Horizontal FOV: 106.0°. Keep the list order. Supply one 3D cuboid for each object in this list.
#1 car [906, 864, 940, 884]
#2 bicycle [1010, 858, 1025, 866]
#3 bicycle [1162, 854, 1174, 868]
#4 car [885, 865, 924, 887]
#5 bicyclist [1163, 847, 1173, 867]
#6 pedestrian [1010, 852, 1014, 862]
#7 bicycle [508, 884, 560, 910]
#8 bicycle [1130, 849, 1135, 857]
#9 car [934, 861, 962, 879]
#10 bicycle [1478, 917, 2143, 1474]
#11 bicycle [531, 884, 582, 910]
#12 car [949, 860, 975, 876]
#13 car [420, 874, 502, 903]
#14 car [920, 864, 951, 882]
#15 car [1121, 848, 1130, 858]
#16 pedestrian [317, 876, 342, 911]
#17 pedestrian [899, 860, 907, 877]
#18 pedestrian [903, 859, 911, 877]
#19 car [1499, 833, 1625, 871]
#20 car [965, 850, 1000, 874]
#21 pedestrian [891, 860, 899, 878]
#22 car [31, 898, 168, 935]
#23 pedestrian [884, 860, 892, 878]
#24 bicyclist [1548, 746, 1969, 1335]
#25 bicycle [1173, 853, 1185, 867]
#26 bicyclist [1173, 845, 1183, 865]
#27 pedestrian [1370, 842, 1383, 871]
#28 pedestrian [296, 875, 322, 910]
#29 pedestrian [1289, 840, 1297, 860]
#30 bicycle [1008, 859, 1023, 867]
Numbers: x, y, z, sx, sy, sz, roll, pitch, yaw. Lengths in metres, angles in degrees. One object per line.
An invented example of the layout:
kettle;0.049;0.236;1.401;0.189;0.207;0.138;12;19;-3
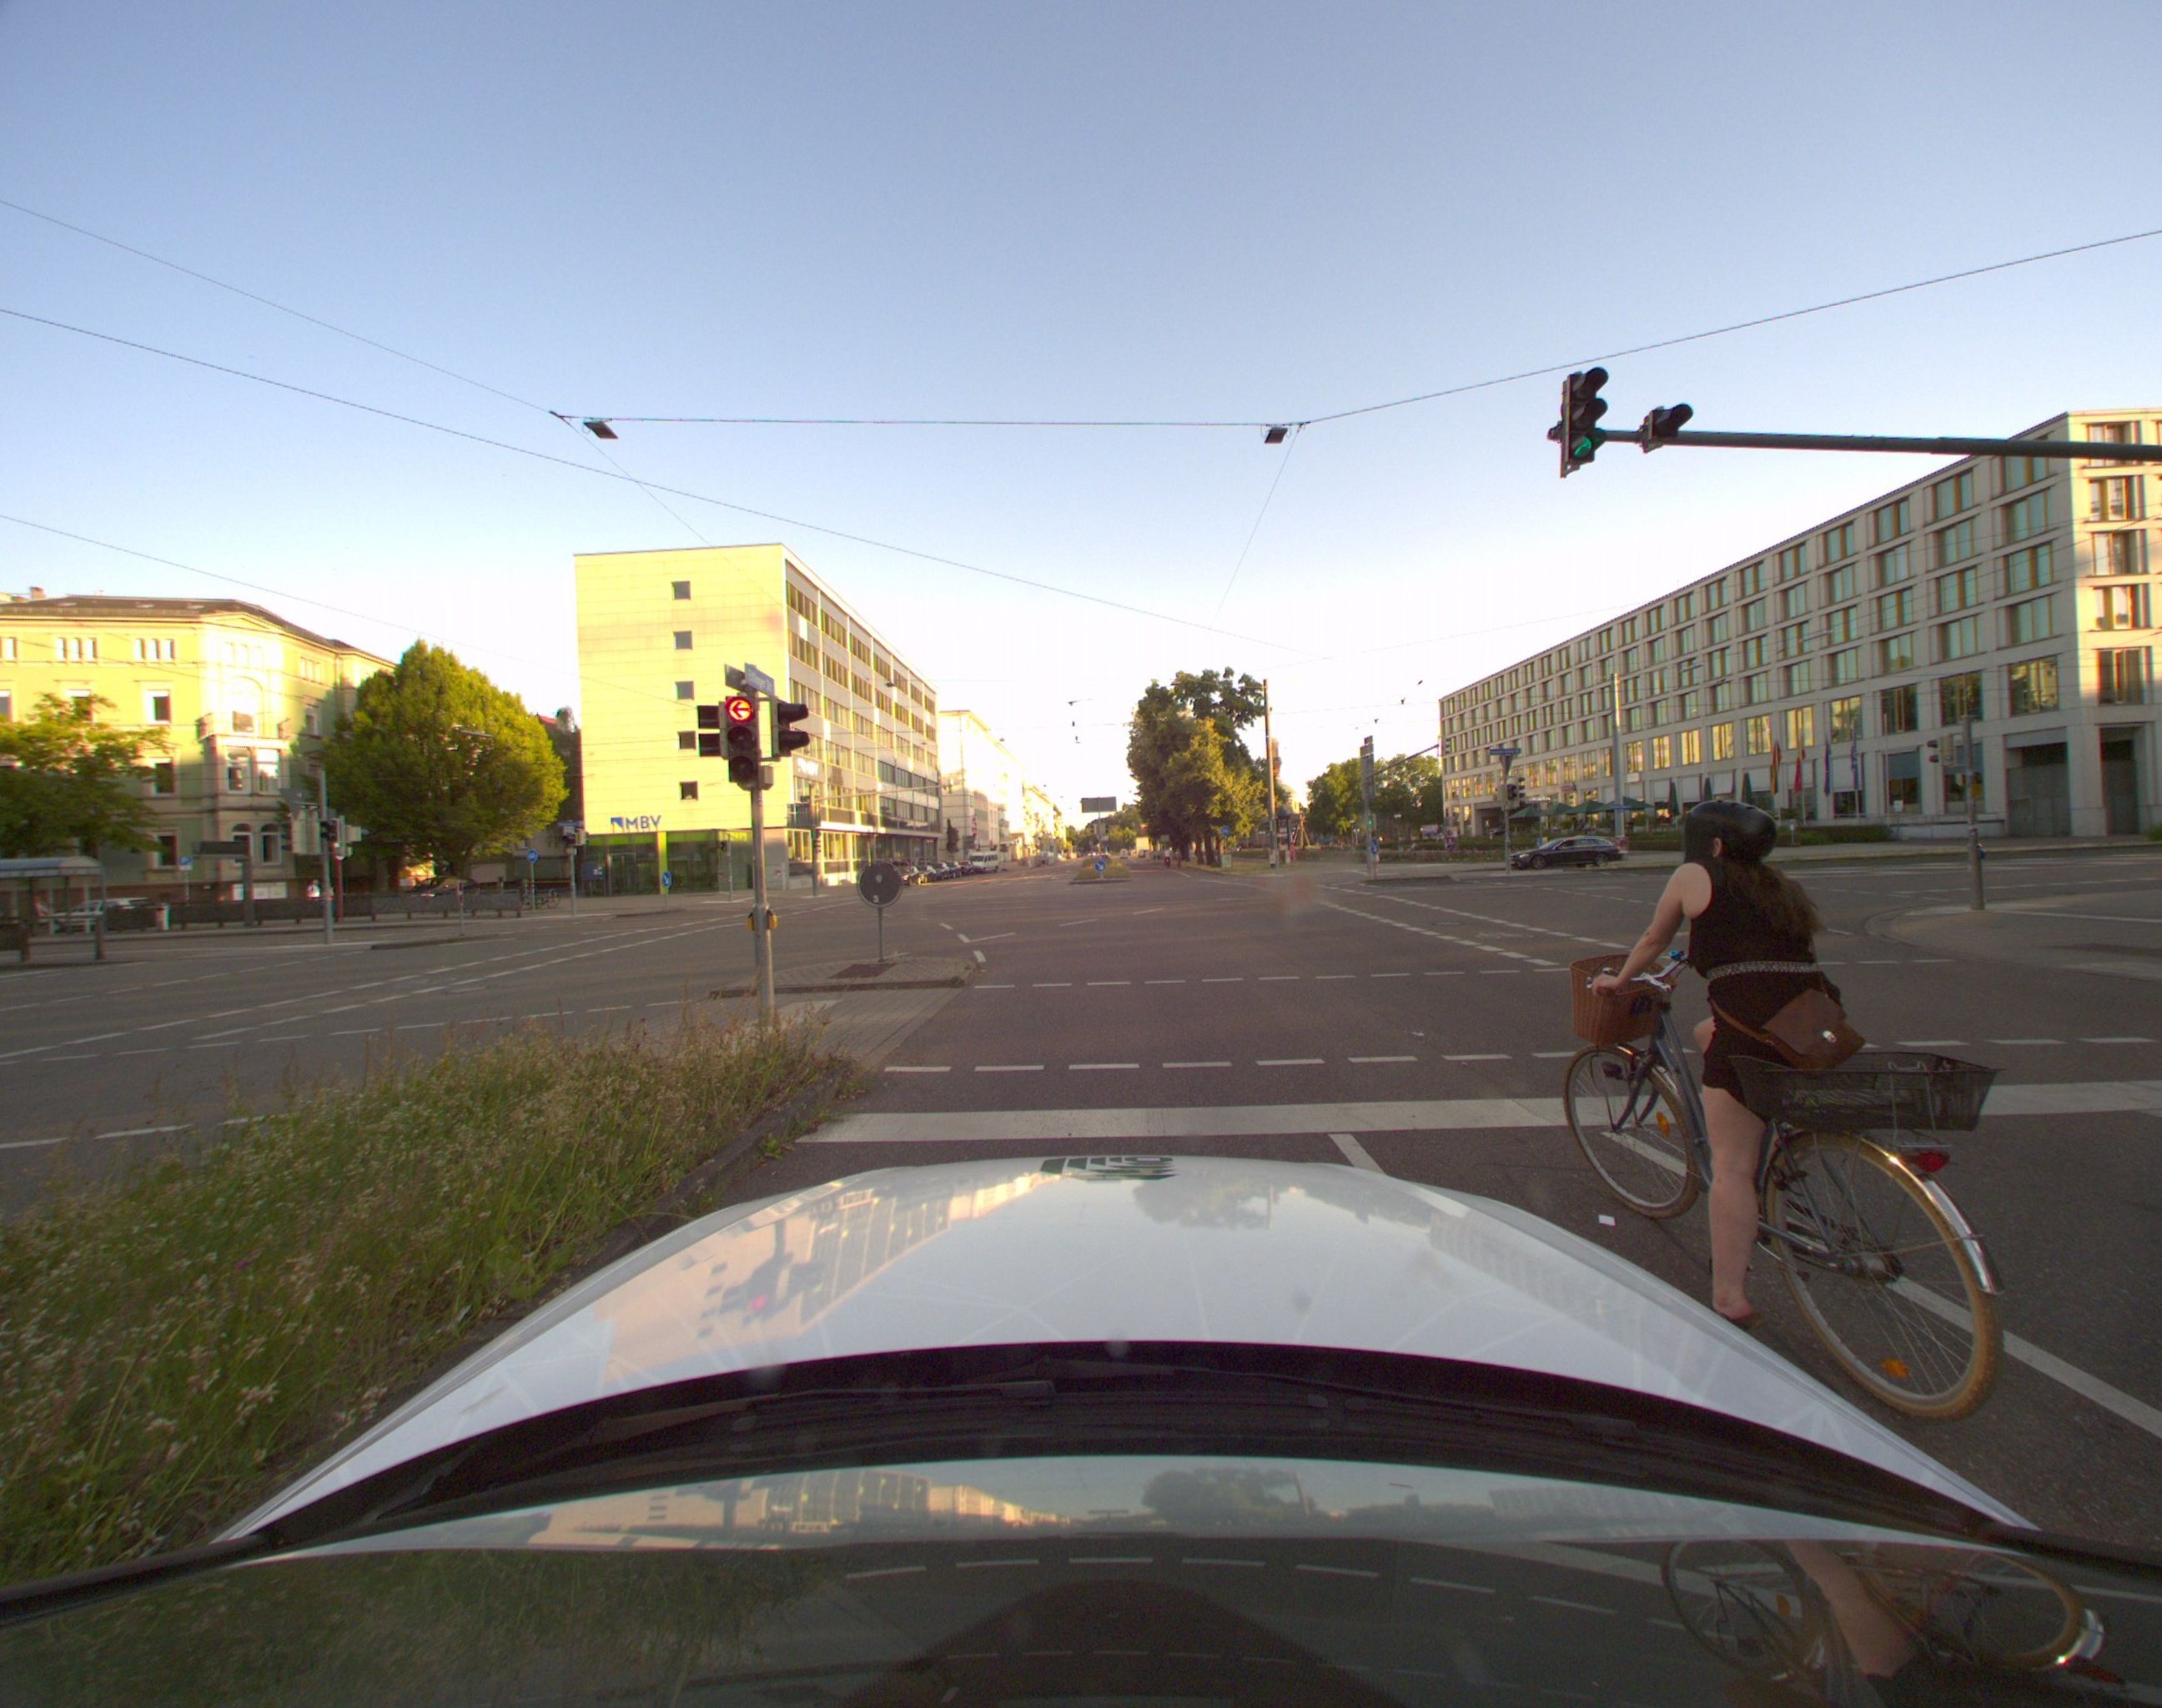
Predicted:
car;-13.317;1.647;68.910;1.913;1.464;4.002;-3;0;2
bicycle;-10.068;1.288;129.333;2.198;1.236;0.839;-3;0;0
bicycle;7.502;0.614;70.337;0.744;1.144;2.506;-3;0;2
car;-13.512;1.660;62.414;1.913;1.464;4.105;-3;0;2
bicyclist;7.434;0.258;69.646;0.744;1.663;0.873;-3;0;1
pedestrian;-14.078;0.671;165.686;0.677;2.013;0.545;-3;0;1
bicycle;-26.733;2.104;39.864;0.832;1.112;2.216;-3;0;6
bicycle;13.056;-0.263;207.651;0.997;2.013;4.007;-3;0;6
car;-12.857;1.574;79.025;1.913;1.568;4.002;-3;0;2
bicycle;2.182;0.872;2.897;0.609;1.132;2.005;-1;0;2
bicycle;-25.586;2.070;39.762;0.832;1.112;2.216;-3;0;6
car;-12.390;1.447;85.248;1.913;1.568;4.002;-3;0;2
car;-35.016;1.911;46.097;1.830;1.372;3.594;-3;0;0
car;-13.109;1.684;73.723;1.913;1.464;4.002;-3;0;2
car;7.988;-0.142;147.145;1.403;1.641;4.000;-3;0;1
pedestrian;-39.649;2.094;42.963;0.641;1.790;0.720;-3;0;-12
pedestrian;-17.015;1.380;77.817;0.498;1.679;0.500;-3;0;1
pedestrian;-16.459;1.342;77.160;0.549;1.679;0.500;-3;0;1
car;23.081;-0.098;39.235;4.803;1.515;2.002;-3;0;4
car;-11.064;0.867;91.683;1.988;2.478;5.888;-3;0;12
pedestrian;-17.655;1.451;77.325;0.549;1.679;0.500;-3;0;1
car;-45.269;2.847;37.662;3.588;1.372;1.833;-3;0;-15
pedestrian;-18.271;1.455;77.236;0.549;1.679;0.500;-3;0;1
bicyclist;2.175;0.521;2.773;0.597;1.636;0.999;-1;0;2
bicycle;8.355;0.533;69.764;0.744;1.144;2.506;-3;0;2
bicyclist;8.331;0.082;69.779;0.744;1.691;0.799;-3;0;1
pedestrian;15.735;0.127;43.308;0.489;1.540;0.408;-3;0;1
pedestrian;-39.934;1.985;42.124;0.641;1.790;0.720;-3;0;-12
pedestrian;17.747;-0.323;68.215;0.458;1.656;0.567;-3;0;1
bicycle;-10.096;1.322;125.905;2.198;1.112;0.619;-3;0;0
